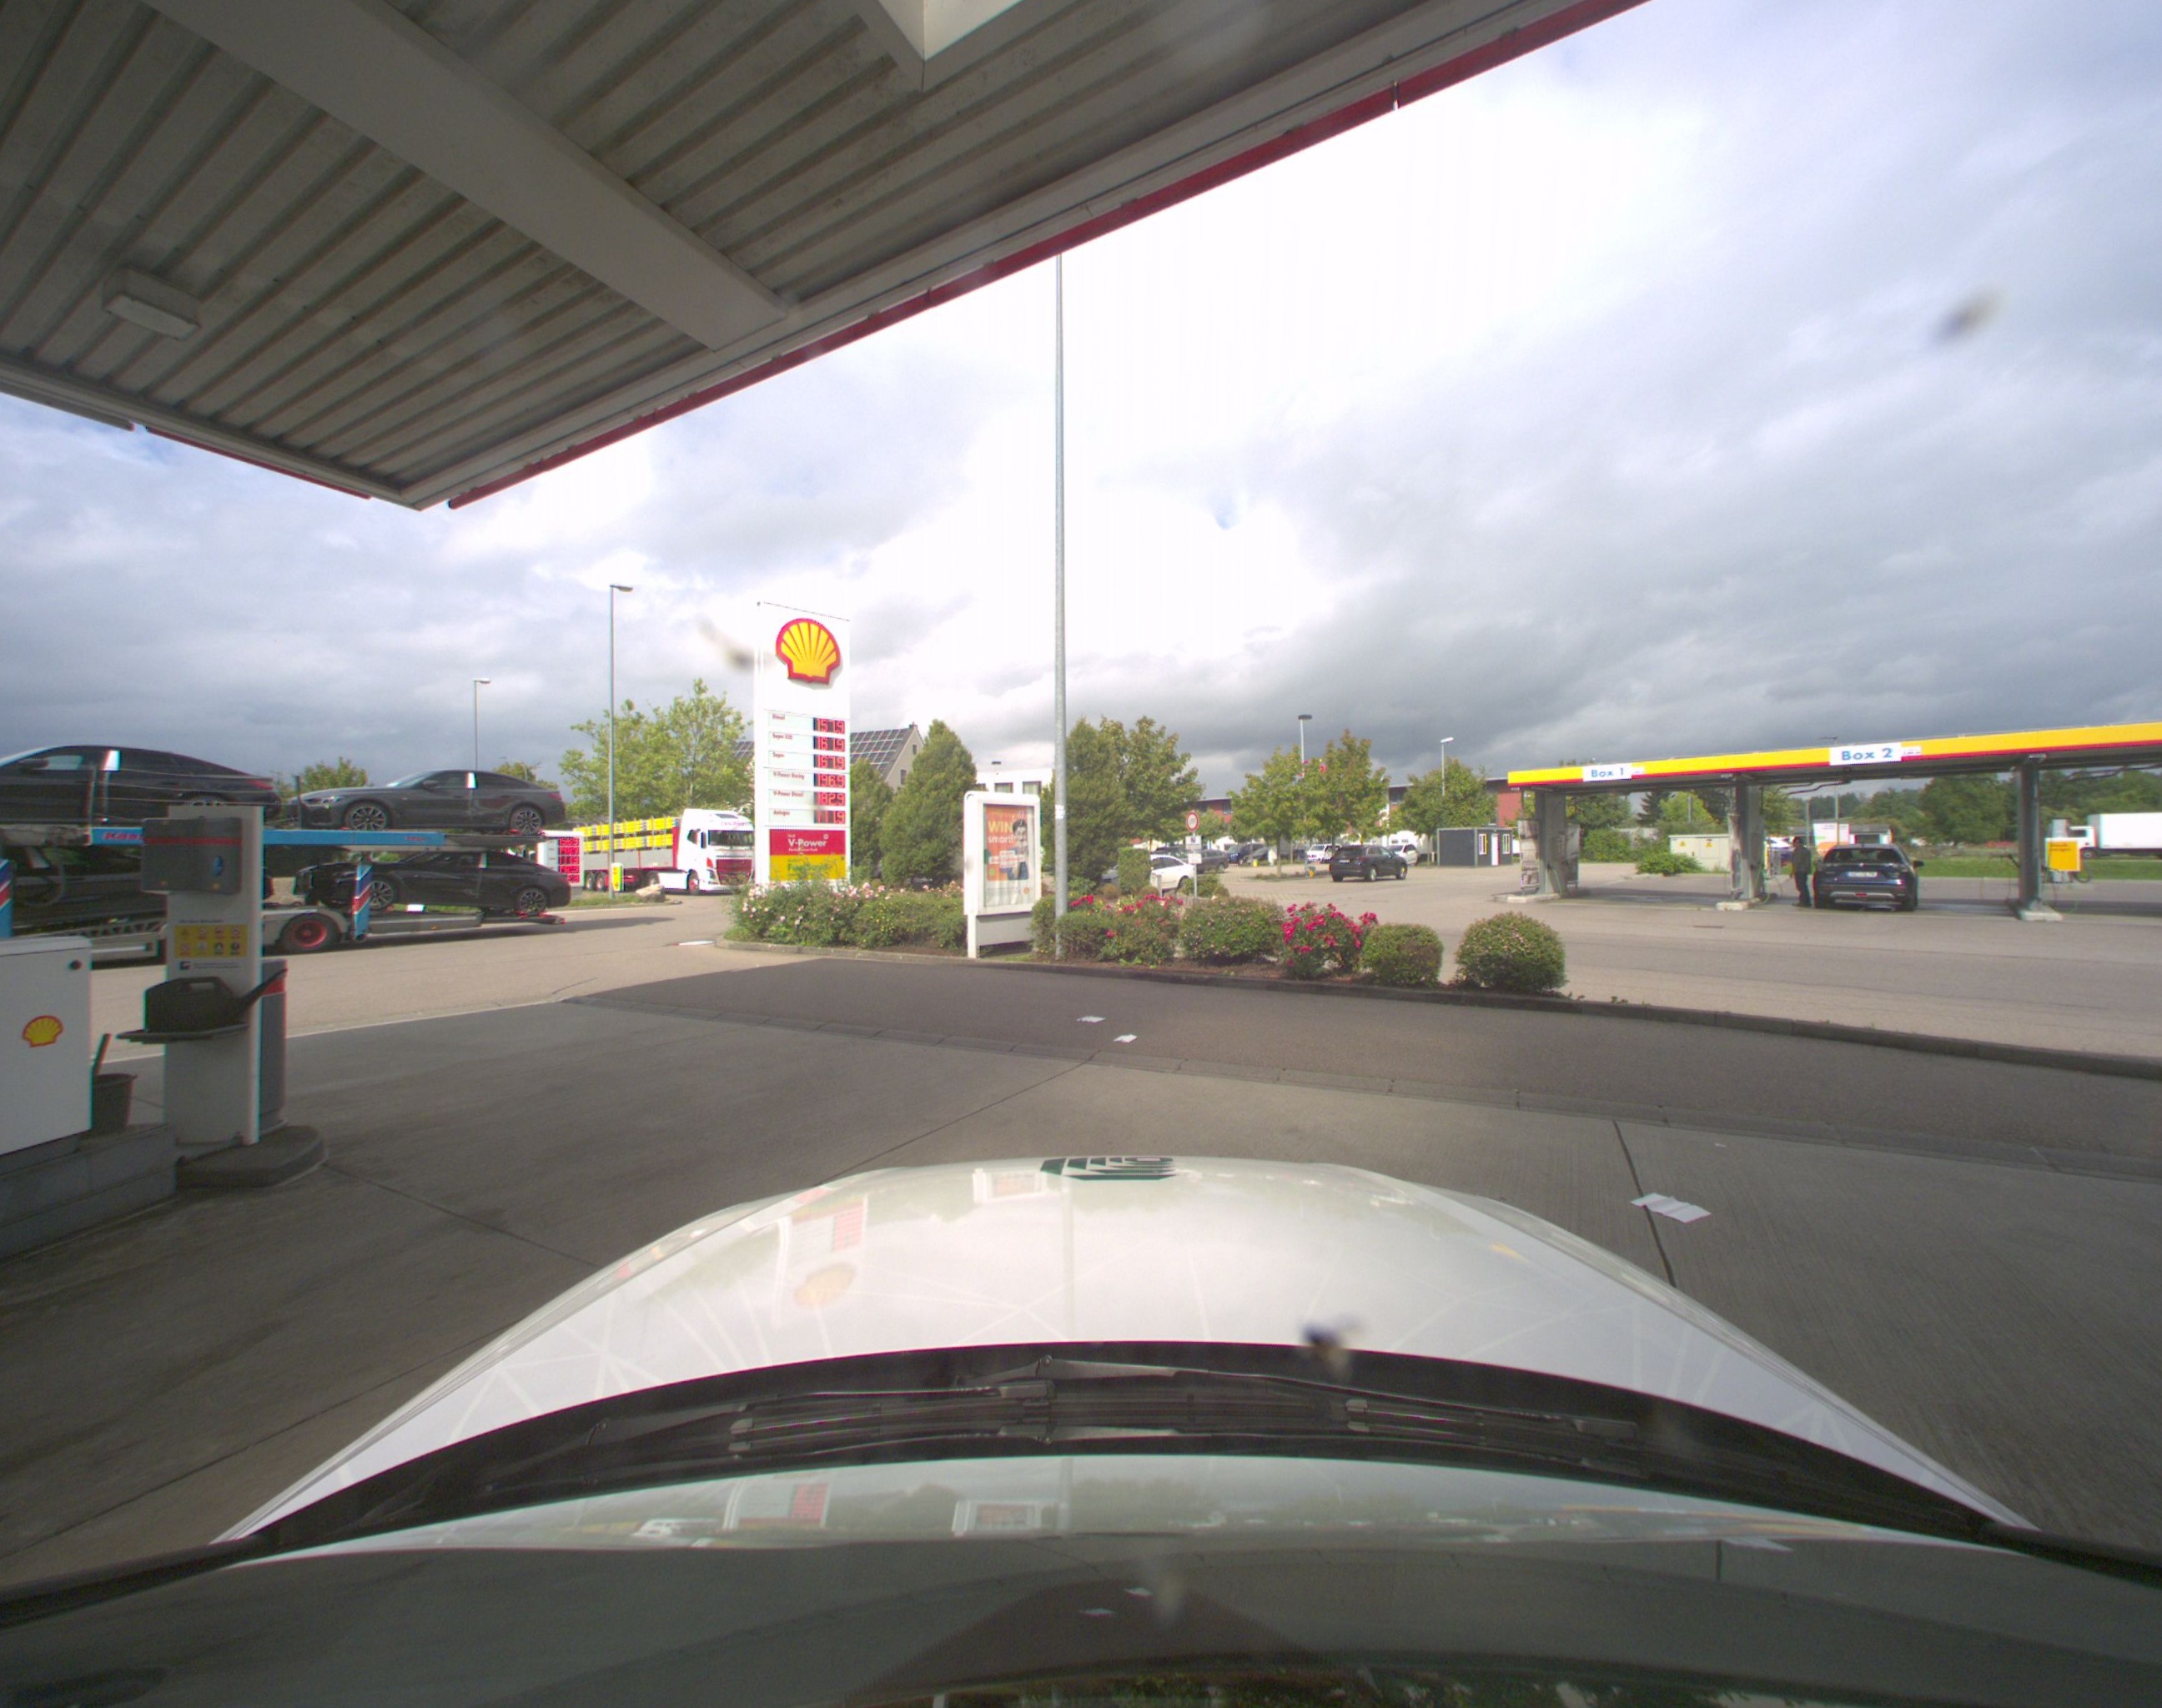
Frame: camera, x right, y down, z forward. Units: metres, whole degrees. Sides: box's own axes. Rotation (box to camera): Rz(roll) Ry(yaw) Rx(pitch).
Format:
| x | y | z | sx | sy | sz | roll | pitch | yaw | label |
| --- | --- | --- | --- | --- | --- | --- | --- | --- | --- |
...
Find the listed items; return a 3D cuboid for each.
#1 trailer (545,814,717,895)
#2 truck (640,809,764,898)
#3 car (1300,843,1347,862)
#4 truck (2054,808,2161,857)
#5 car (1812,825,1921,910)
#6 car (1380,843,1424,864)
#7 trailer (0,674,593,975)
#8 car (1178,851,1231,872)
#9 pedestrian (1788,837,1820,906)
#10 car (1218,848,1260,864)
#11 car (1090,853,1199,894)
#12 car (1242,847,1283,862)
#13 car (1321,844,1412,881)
| x | y | z | sx | sy | sz | roll | pitch | yaw | label |
| --- | --- | --- | --- | --- | --- | --- | --- | --- | --- |
| -23.742 | 0.090 | 42.477 | 12.548 | 3.776 | 2.757 | -1 | -1 | 36 | trailer |
| -17.793 | 0.011 | 38.162 | 5.842 | 3.846 | 2.759 | -1 | -1 | 36 | truck |
| 23.888 | -0.130 | 80.300 | 4.903 | 1.833 | 2.159 | 0 | -1 | -41 | car |
| 78.243 | -1.565 | 60.035 | 7.989 | 3.534 | 2.714 | -1 | -1 | 41 | truck |
| 19.448 | 0.311 | 20.107 | 3.828 | 1.897 | 1.703 | 0 | -1 | -43 | car |
| 20.620 | -0.053 | 52.247 | 3.120 | 1.307 | 1.352 | 0 | -1 | -42 | car |
| -16.425 | -0.417 | 13.718 | 2.711 | 4.423 | 14.450 | -1 | -1 | 31 | trailer |
| 7.552 | 0.442 | 49.738 | 3.245 | 1.228 | 1.488 | 0 | -1 | -42 | car |
| 18.245 | 0.434 | 20.566 | 0.551 | 1.722 | 0.531 | -1 | -1 | 38 | pedestrian |
| 12.963 | 0.175 | 66.692 | 3.407 | 1.320 | 1.726 | 0 | -1 | -42 | car |
| 2.404 | 0.678 | 30.054 | 4.368 | 1.404 | 1.354 | 0 | -1 | -42 | car |
| 14.506 | 0.027 | 64.907 | 3.437 | 1.179 | 1.468 | 0 | -1 | -42 | car |
| 12.887 | 0.369 | 36.612 | 4.527 | 1.548 | 1.864 | 0 | -1 | -41 | car |
